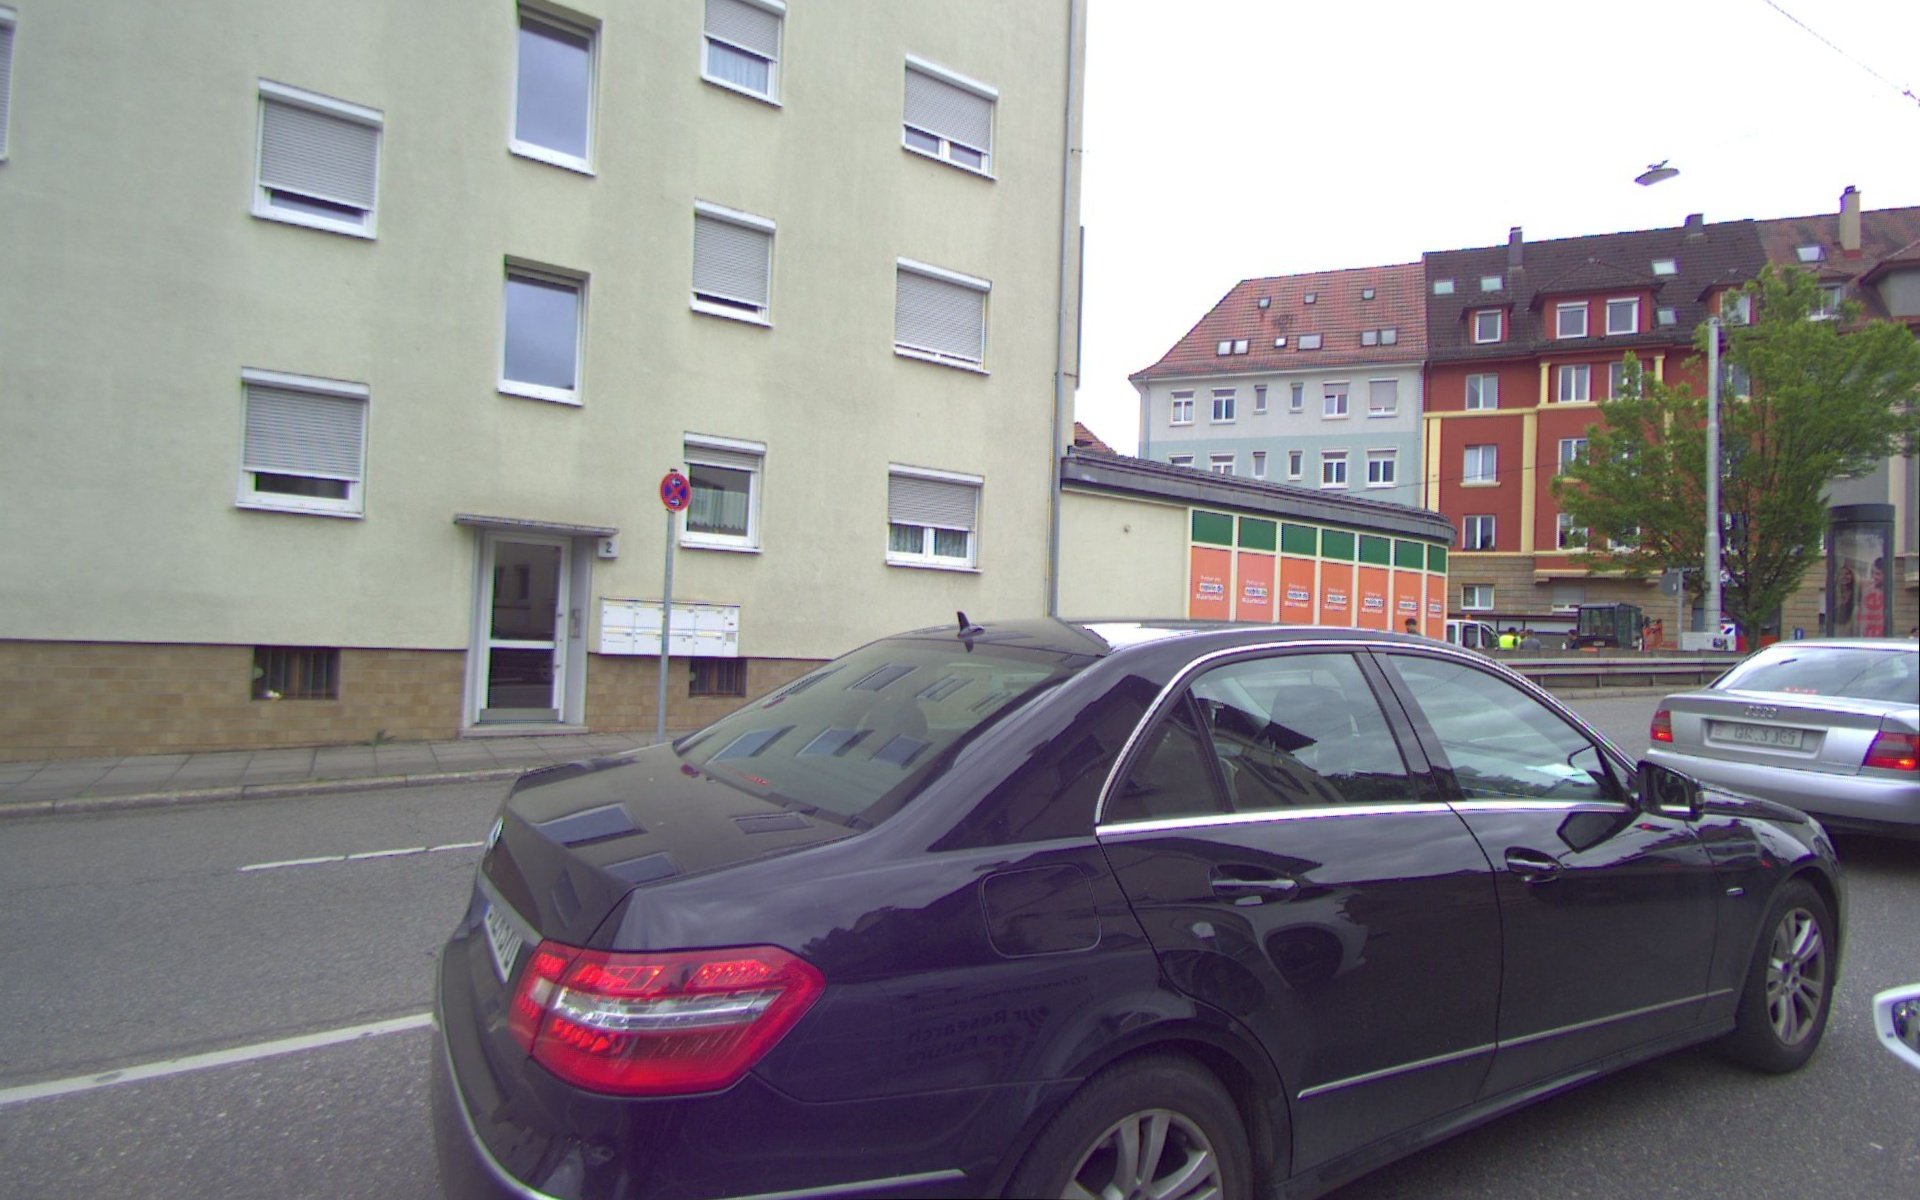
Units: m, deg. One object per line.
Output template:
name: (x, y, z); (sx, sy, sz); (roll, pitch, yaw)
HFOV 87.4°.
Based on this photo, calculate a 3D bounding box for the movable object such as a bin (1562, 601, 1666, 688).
movable object such as a bin: (16.558, 1.107, 25.382); (3.510, 2.040, 1.363); (2, -2, -42)

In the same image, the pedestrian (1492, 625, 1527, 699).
pedestrian: (15.586, 1.746, 28.491); (0.811, 2.040, 0.680); (0, 0, 24)

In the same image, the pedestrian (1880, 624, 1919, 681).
pedestrian: (26.790, 1.480, 28.447); (0.724, 1.567, 0.794); (0, -1, -3)

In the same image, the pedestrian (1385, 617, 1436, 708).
pedestrian: (8.440, 1.145, 18.811); (0.680, 1.658, 0.775); (0, -1, 40)

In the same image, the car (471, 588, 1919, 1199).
car: (1.083, 0.773, 3.381); (4.785, 1.447, 1.984); (1, -2, -30)

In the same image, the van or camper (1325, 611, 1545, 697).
van or camper: (14.539, 1.571, 31.019); (5.894, 2.369, 2.686); (0, -1, 26)

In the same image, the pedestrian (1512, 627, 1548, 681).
pedestrian: (14.789, 1.385, 26.059); (0.613, 1.381, 0.602); (0, -1, 4)

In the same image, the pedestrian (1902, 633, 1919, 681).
pedestrian: (27.514, 1.640, 28.739); (0.572, 1.356, 0.576); (0, -1, 13)

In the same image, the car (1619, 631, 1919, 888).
car: (6.701, 0.920, 7.064); (4.073, 1.383, 1.623); (1, -2, -26)
